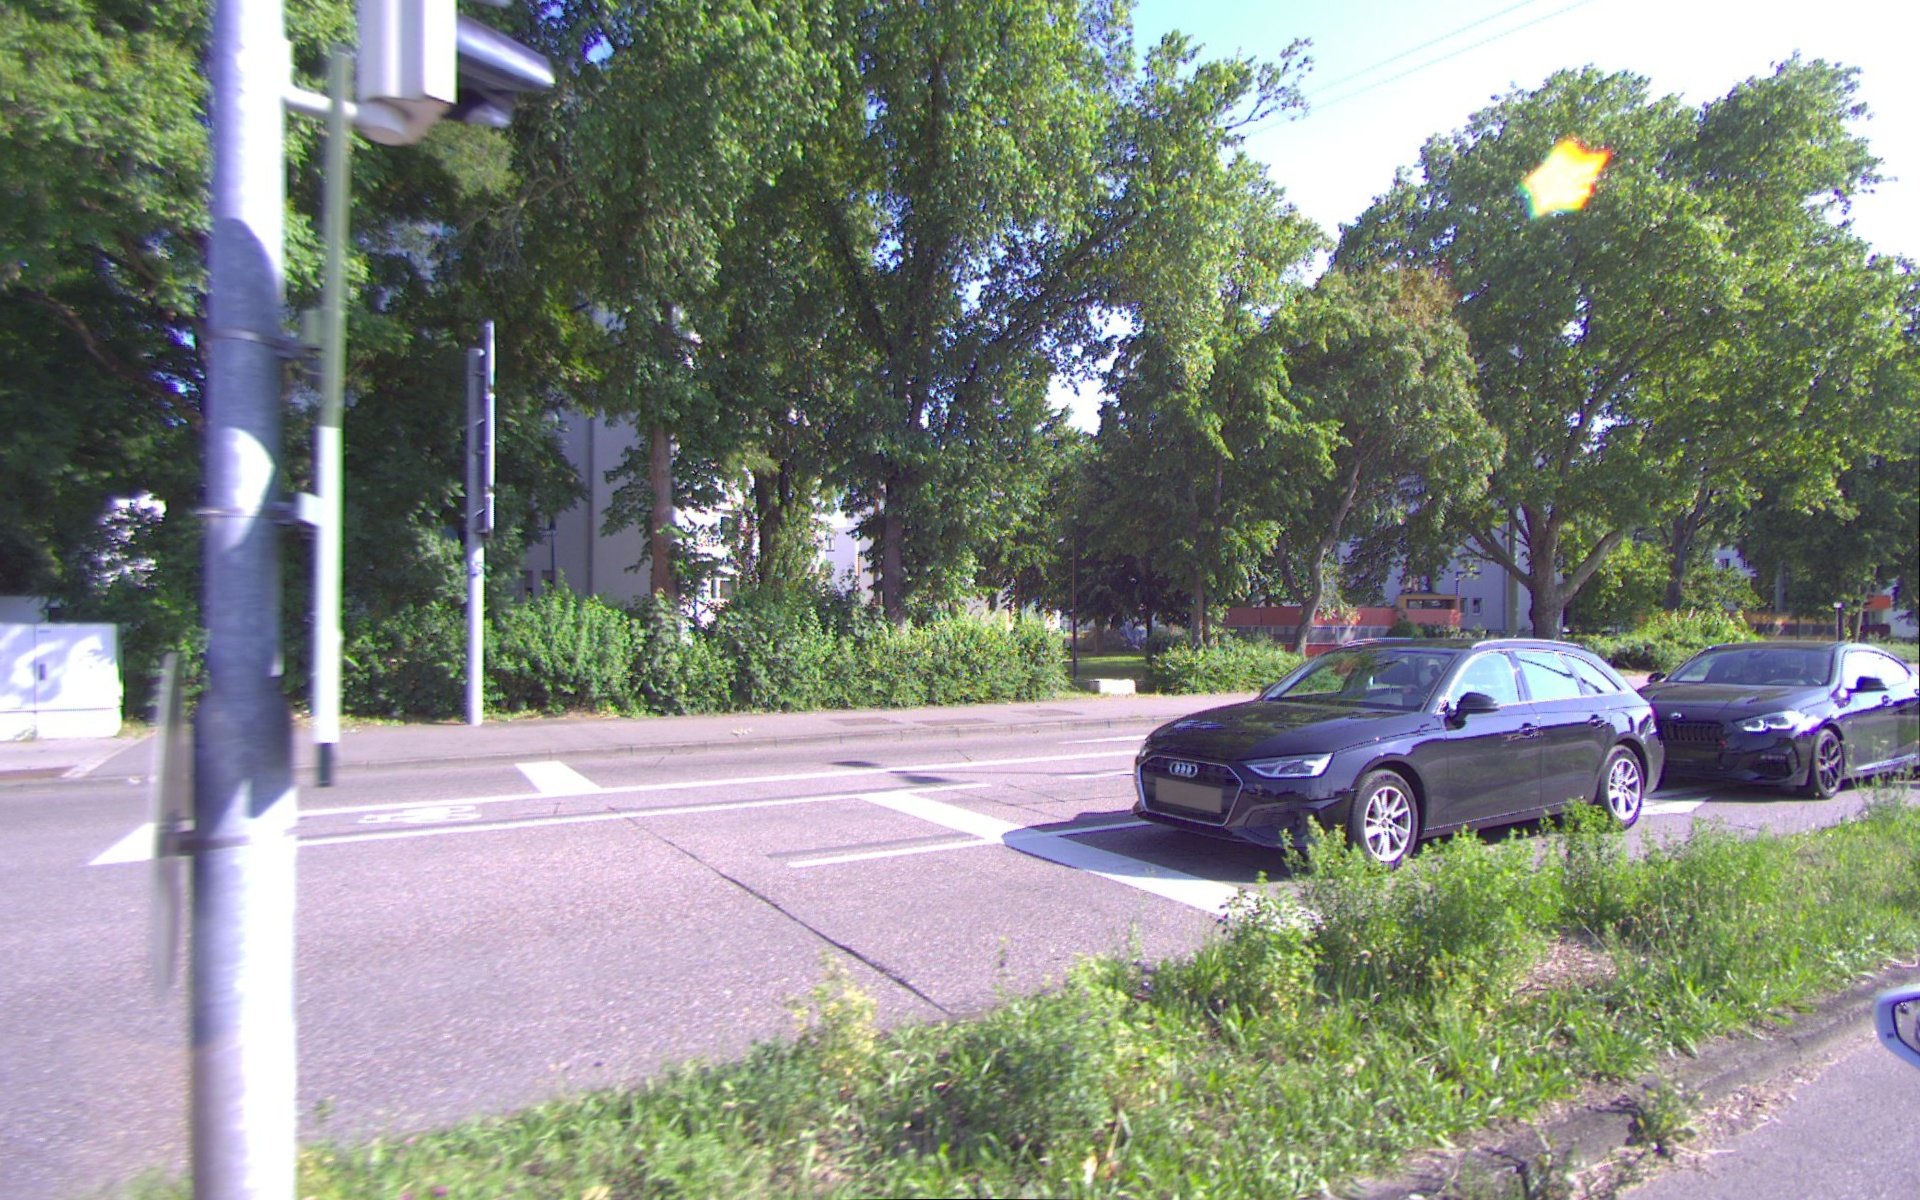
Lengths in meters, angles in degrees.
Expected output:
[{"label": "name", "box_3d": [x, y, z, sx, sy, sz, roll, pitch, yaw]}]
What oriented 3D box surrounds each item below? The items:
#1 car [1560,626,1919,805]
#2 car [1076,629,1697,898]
[{"label": "car", "box_3d": [8.399, 1.038, 10.453, 4.328, 1.454, 1.821, 0, -1, -30]}, {"label": "car", "box_3d": [3.304, 0.975, 7.529, 4.674, 1.450, 1.821, 1, -2, -30]}]
